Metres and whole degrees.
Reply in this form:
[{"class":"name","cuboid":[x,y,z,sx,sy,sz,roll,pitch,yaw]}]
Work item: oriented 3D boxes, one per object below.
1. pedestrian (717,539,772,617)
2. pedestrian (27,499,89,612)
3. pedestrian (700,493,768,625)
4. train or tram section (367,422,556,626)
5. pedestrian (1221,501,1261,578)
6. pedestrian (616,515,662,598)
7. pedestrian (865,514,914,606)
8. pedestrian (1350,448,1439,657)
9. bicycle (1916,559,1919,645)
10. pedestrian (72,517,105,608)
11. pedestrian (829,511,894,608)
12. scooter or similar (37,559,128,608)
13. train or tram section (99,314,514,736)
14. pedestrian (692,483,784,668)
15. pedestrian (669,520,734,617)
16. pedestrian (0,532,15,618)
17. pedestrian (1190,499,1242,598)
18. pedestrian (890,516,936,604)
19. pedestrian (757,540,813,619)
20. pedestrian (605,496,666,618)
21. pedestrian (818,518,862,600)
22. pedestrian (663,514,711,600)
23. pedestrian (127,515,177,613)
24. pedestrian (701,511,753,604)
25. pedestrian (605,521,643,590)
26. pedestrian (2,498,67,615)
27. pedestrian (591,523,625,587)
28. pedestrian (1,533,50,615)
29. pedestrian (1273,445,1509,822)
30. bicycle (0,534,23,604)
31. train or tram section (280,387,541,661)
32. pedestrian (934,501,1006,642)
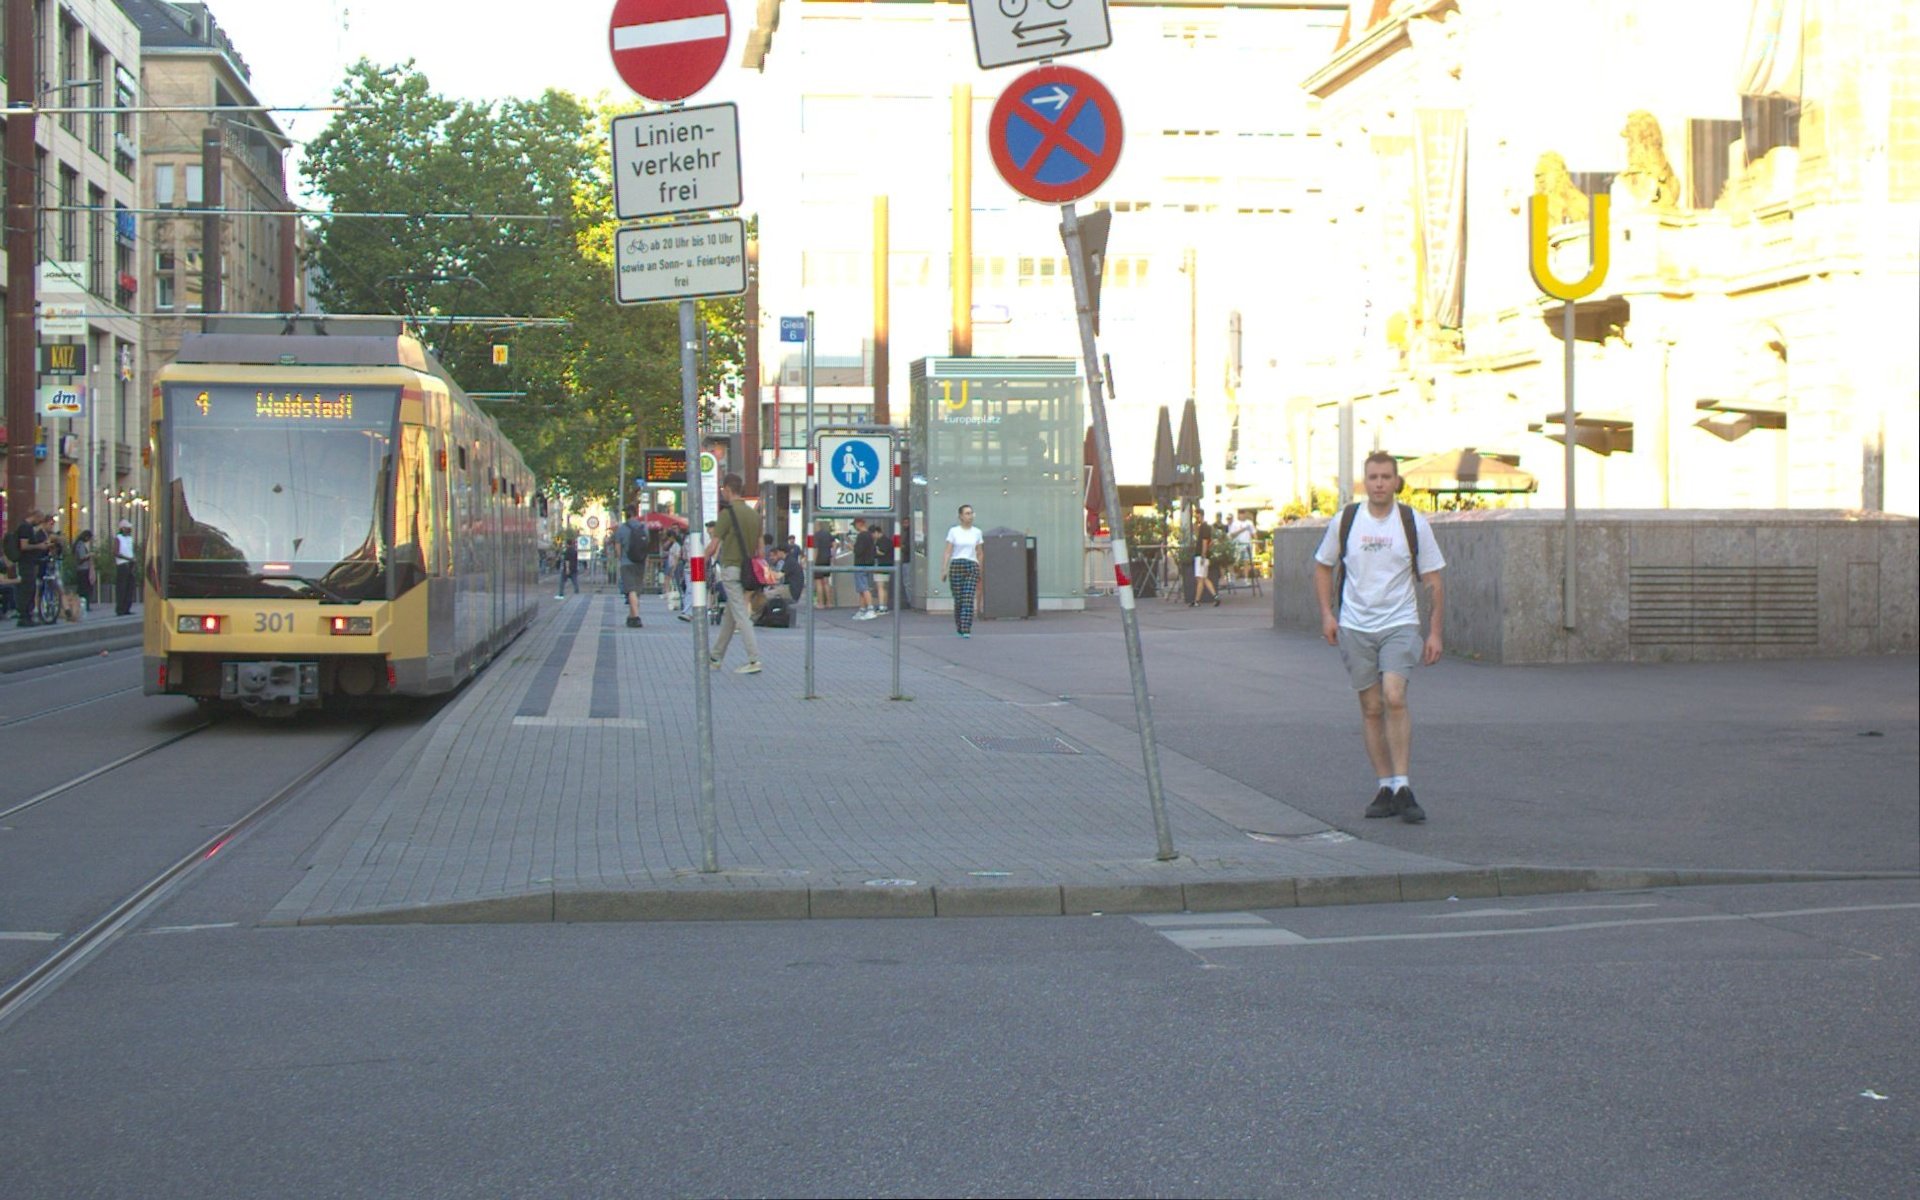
[{"class":"pedestrian","cuboid":[-3.410,-0.346,54.309,0.792,1.217,0.769,0,1,-9]},{"class":"pedestrian","cuboid":[-13.896,-0.686,52.948,0.707,1.719,0.775,0,0,-34]},{"class":"pedestrian","cuboid":[-3.145,-0.577,47.762,0.733,1.817,0.820,0,1,-20]},{"class":"train or tram section","cuboid":[-8.966,-1.394,63.251,2.800,3.308,14.511,0,1,-6]},{"class":"pedestrian","cuboid":[6.686,-1.444,81.745,0.773,1.818,0.850,0,1,-8]},{"class":"pedestrian","cuboid":[-6.456,-0.883,69.082,0.767,1.655,0.794,0,1,7]},{"class":"pedestrian","cuboid":[-1.274,-0.731,62.101,0.792,1.655,0.769,0,1,6]},{"class":"pedestrian","cuboid":[4.235,-0.463,33.589,0.770,2.007,0.917,1,1,3]},{"class":"bicycle","cuboid":[9.835,0.028,34.103,0.315,0.864,1.000,-1,1,-7]},{"class":"pedestrian","cuboid":[-16.690,-0.714,65.846,0.600,1.721,0.608,0,0,-12]},{"class":"pedestrian","cuboid":[-1.687,-0.699,58.991,0.794,1.655,0.767,1,1,44]},{"class":"scooter or similar","cuboid":[-14.872,-0.284,58.292,0.558,0.828,1.523,0,0,34]},{"class":"train or tram section","cuboid":[-6.080,-0.751,34.321,2.800,3.308,14.511,0,1,-6]},{"class":"pedestrian","cuboid":[-2.095,-0.227,32.399,0.718,1.719,0.710,0,0,-16]},{"class":"pedestrian","cuboid":[-4.225,-0.520,56.145,0.768,1.573,0.794,1,1,24]},{"class":"pedestrian","cuboid":[-15.492,-0.397,54.798,0.707,1.374,0.720,0,0,-6]},{"class":"pedestrian","cuboid":[4.703,-0.947,63.206,0.847,1.817,0.775,0,1,-5]},{"class":"pedestrian","cuboid":[-0.897,-0.771,65.764,0.792,1.655,0.769,0,1,6]},{"class":"pedestrian","cuboid":[-2.734,-0.328,53.560,0.792,1.217,0.769,0,1,-9]},{"class":"pedestrian","cuboid":[-4.850,-0.644,51.381,0.733,1.817,0.820,0,1,-20]},{"class":"pedestrian","cuboid":[-2.426,-0.839,69.687,0.792,1.655,0.769,0,1,6]},{"class":"pedestrian","cuboid":[-5.273,-0.838,66.422,0.792,1.655,0.769,0,1,6]},{"class":"pedestrian","cuboid":[-14.200,-0.631,60.437,0.773,1.719,0.709,0,0,-5]},{"class":"pedestrian","cuboid":[-4.180,-0.766,61.706,0.792,1.655,0.769,0,1,6]},{"class":"pedestrian","cuboid":[-8.157,-1.081,83.465,0.792,1.655,0.769,0,1,6]},{"class":"pedestrian","cuboid":[-13.766,-0.639,51.129,0.707,1.719,0.775,0,0,-36]},{"class":"pedestrian","cuboid":[-9.125,-1.167,89.145,0.767,1.655,0.795,0,1,4]},{"class":"pedestrian","cuboid":[-15.796,-0.442,58.123,0.707,1.374,0.720,0,0,-6]},{"class":"pedestrian","cuboid":[2.184,0.162,17.567,1.013,1.857,1.043,1,1,-2]},{"class":"bicycle","cuboid":[-15.951,-0.519,56.965,0.433,1.138,1.618,0,1,-29]},{"class":"train or tram section","cuboid":[-7.521,-1.074,48.801,2.800,3.308,14.511,0,1,-6]},{"class":"pedestrian","cuboid":[0.132,-0.380,45.311,0.773,1.817,0.940,-1,1,-9]}]
